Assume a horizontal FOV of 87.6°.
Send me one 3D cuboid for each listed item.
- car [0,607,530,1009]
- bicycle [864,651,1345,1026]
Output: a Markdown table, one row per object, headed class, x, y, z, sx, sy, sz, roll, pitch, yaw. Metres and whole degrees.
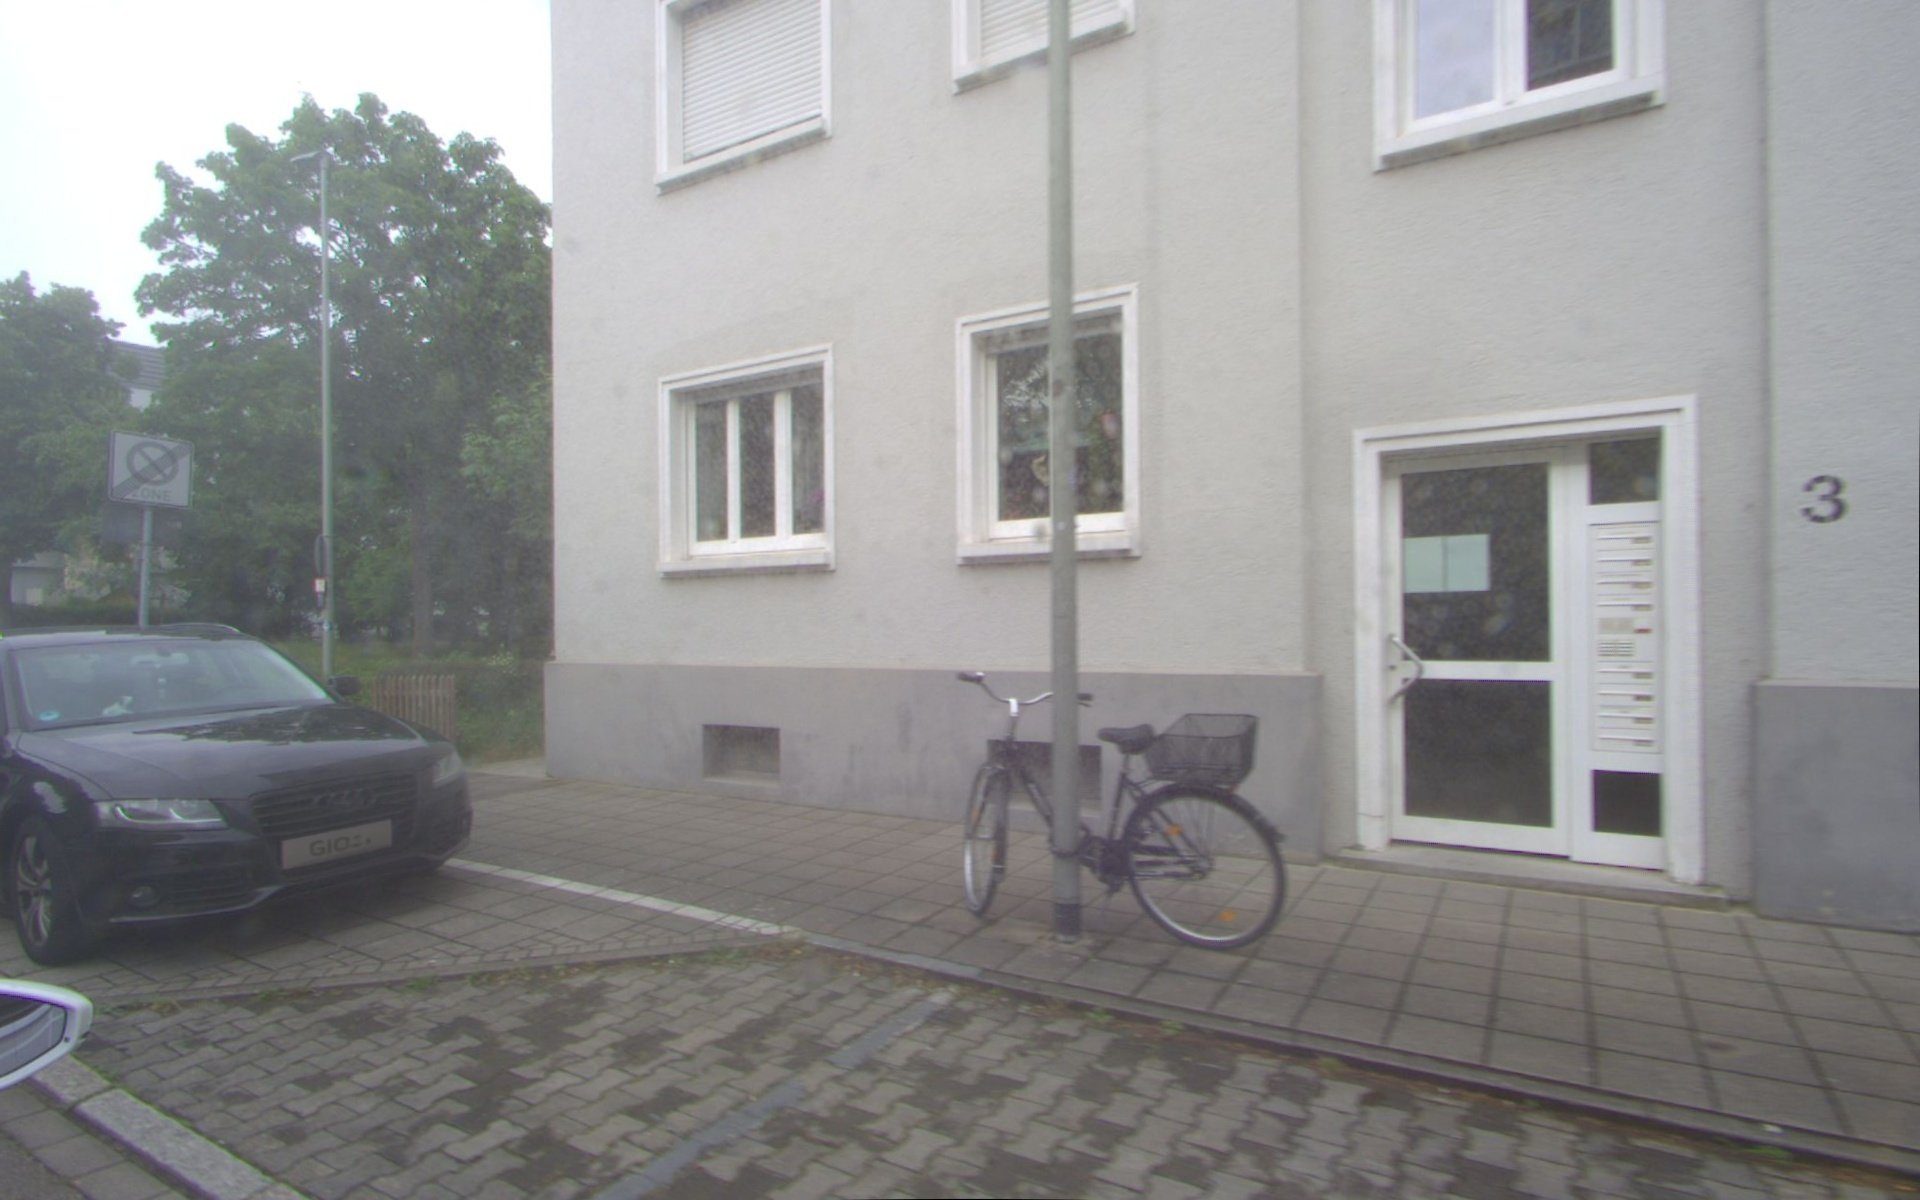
| class | x | y | z | sx | sy | sz | roll | pitch | yaw |
| --- | --- | --- | --- | --- | --- | --- | --- | --- | --- |
| car | -4.753 | 0.808 | 5.685 | 4.655 | 1.482 | 1.858 | -1 | 0 | 30 |
| bicycle | 0.572 | 0.857 | 4.231 | 1.868 | 1.216 | 0.747 | -1 | 1 | 32 |
